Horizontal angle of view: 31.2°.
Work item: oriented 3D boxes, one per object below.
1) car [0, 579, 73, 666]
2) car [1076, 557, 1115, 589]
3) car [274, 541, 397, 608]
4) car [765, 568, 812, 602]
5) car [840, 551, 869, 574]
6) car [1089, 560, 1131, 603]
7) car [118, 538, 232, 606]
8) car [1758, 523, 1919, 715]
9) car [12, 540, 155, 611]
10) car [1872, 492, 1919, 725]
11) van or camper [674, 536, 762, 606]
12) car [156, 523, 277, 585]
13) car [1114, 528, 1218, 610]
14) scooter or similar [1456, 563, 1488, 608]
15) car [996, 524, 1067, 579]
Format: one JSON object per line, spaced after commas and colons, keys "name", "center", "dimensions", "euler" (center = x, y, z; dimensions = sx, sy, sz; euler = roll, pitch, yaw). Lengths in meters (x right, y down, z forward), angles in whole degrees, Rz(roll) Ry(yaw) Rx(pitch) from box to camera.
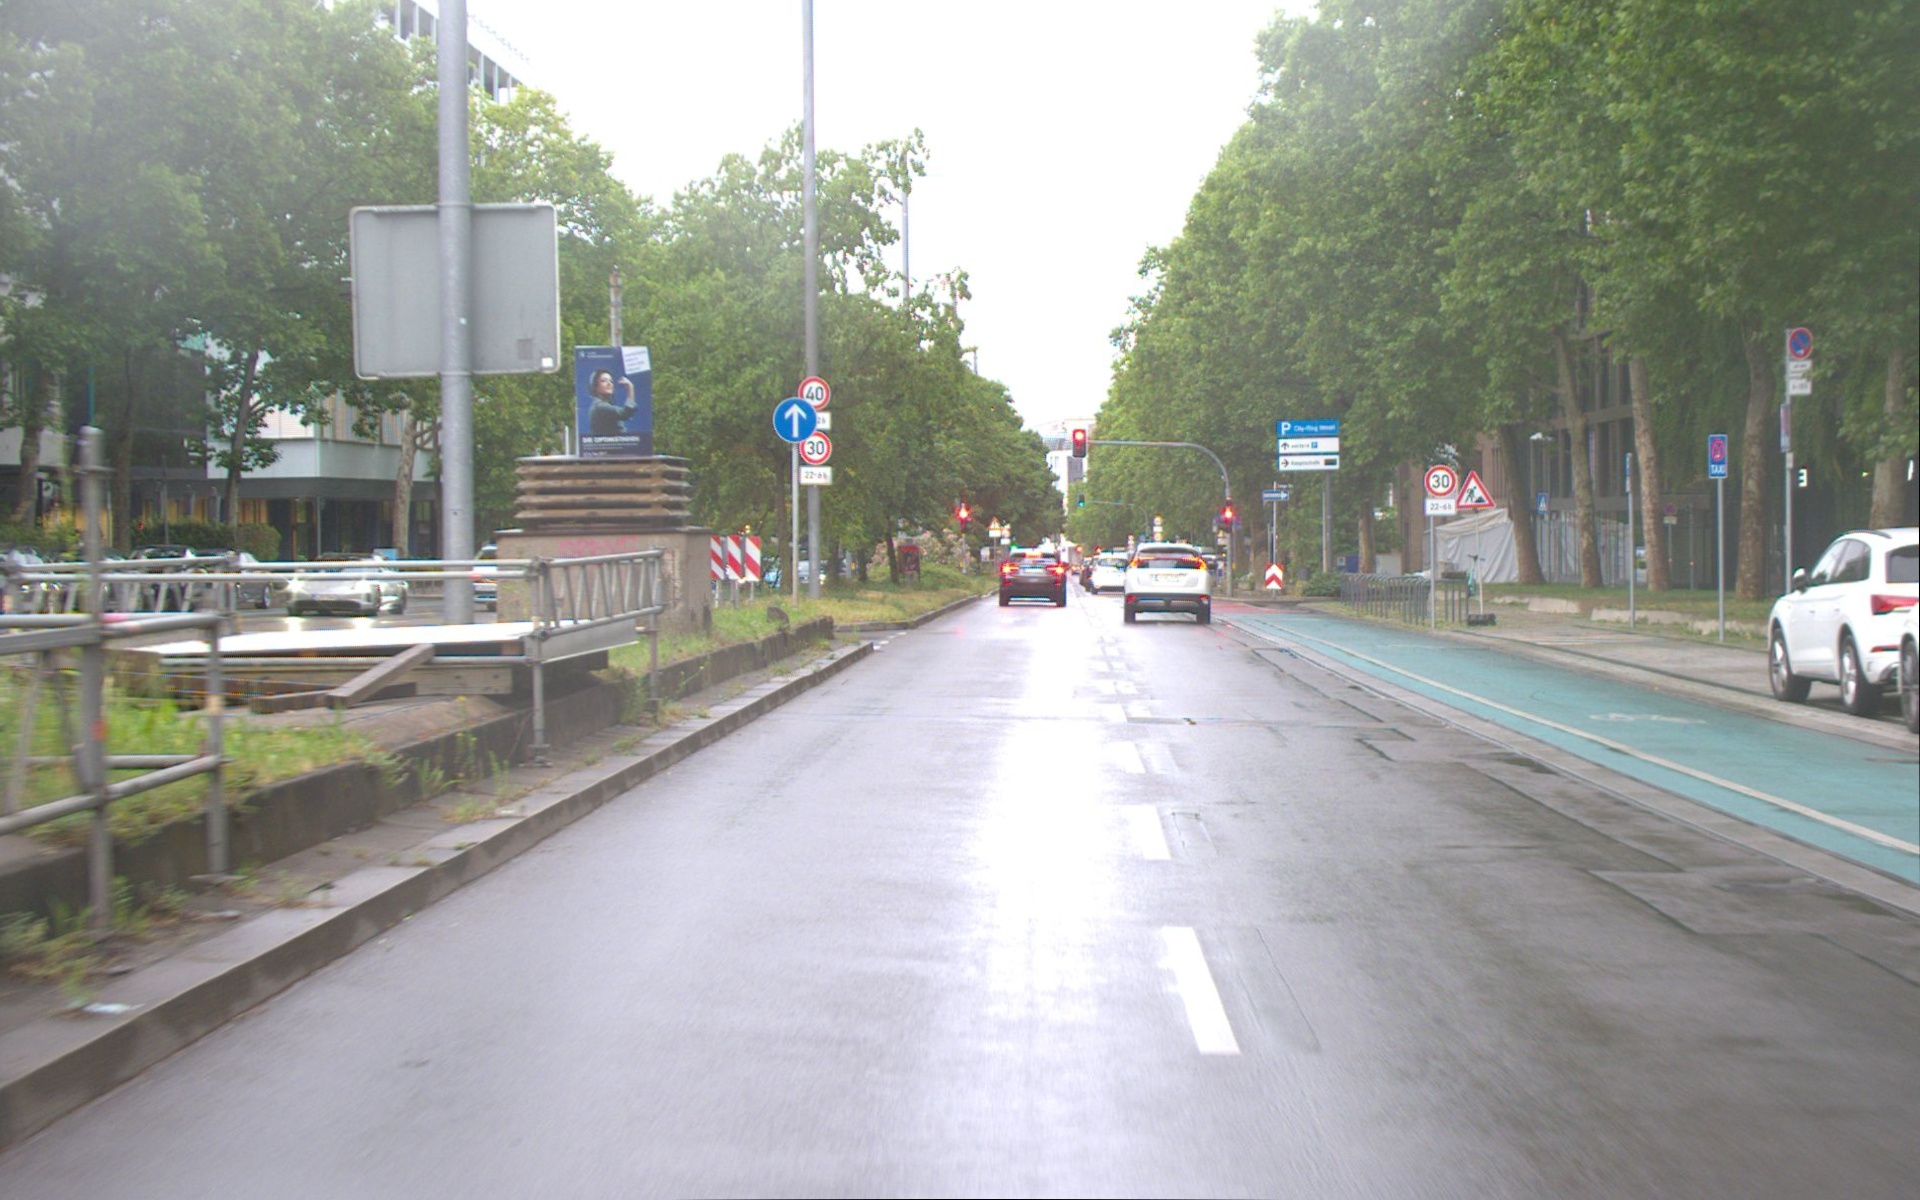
{"name": "car", "center": [-17.979, 0.383, 63.935], "dimensions": [1.837, 1.503, 4.000], "euler": [0, 1, 1]}
{"name": "car", "center": [5.907, -1.178, 150.449], "dimensions": [1.620, 1.369, 4.000], "euler": [1, 1, 1]}
{"name": "car", "center": [-13.855, -0.590, 76.496], "dimensions": [1.966, 1.404, 4.957], "euler": [0, 1, -2]}
{"name": "car", "center": [-7.657, -0.687, 153.909], "dimensions": [1.843, 1.424, 3.643], "euler": [0, 2, 1]}
{"name": "car", "center": [-6.524, -2.343, 213.213], "dimensions": [1.614, 1.389, 3.597], "euler": [0, 1, 1]}
{"name": "car", "center": [6.011, -0.757, 137.843], "dimensions": [1.620, 1.660, 4.000], "euler": [0, 1, 1]}
{"name": "car", "center": [-17.584, -0.641, 77.121], "dimensions": [1.693, 1.463, 3.460], "euler": [0, 1, 1]}
{"name": "car", "center": [8.769, 0.117, 31.586], "dimensions": [1.843, 1.627, 4.786], "euler": [0, 1, 1]}
{"name": "car", "center": [-17.937, -0.527, 70.513], "dimensions": [1.693, 1.404, 4.456], "euler": [0, 1, 1]}
{"name": "car", "center": [8.403, 0.068, 26.150], "dimensions": [1.843, 1.832, 5.093], "euler": [-1, 1, 3]}
{"name": "van or camper", "center": [-6.797, -0.853, 97.150], "dimensions": [1.993, 1.907, 5.251], "euler": [0, 1, 1]}
{"name": "car", "center": [-17.611, -1.111, 81.631], "dimensions": [1.693, 1.404, 4.904], "euler": [0, 1, 1]}
{"name": "car", "center": [4.303, -0.682, 72.339], "dimensions": [1.993, 1.649, 4.889], "euler": [0, 1, 1]}
{"name": "scooter or similar", "center": [13.986, -0.405, 93.860], "dimensions": [0.381, 1.224, 1.077], "euler": [1, 1, 38]}
{"name": "car", "center": [1.968, -1.338, 94.398], "dimensions": [1.918, 1.486, 4.000], "euler": [0, 1, 1]}
